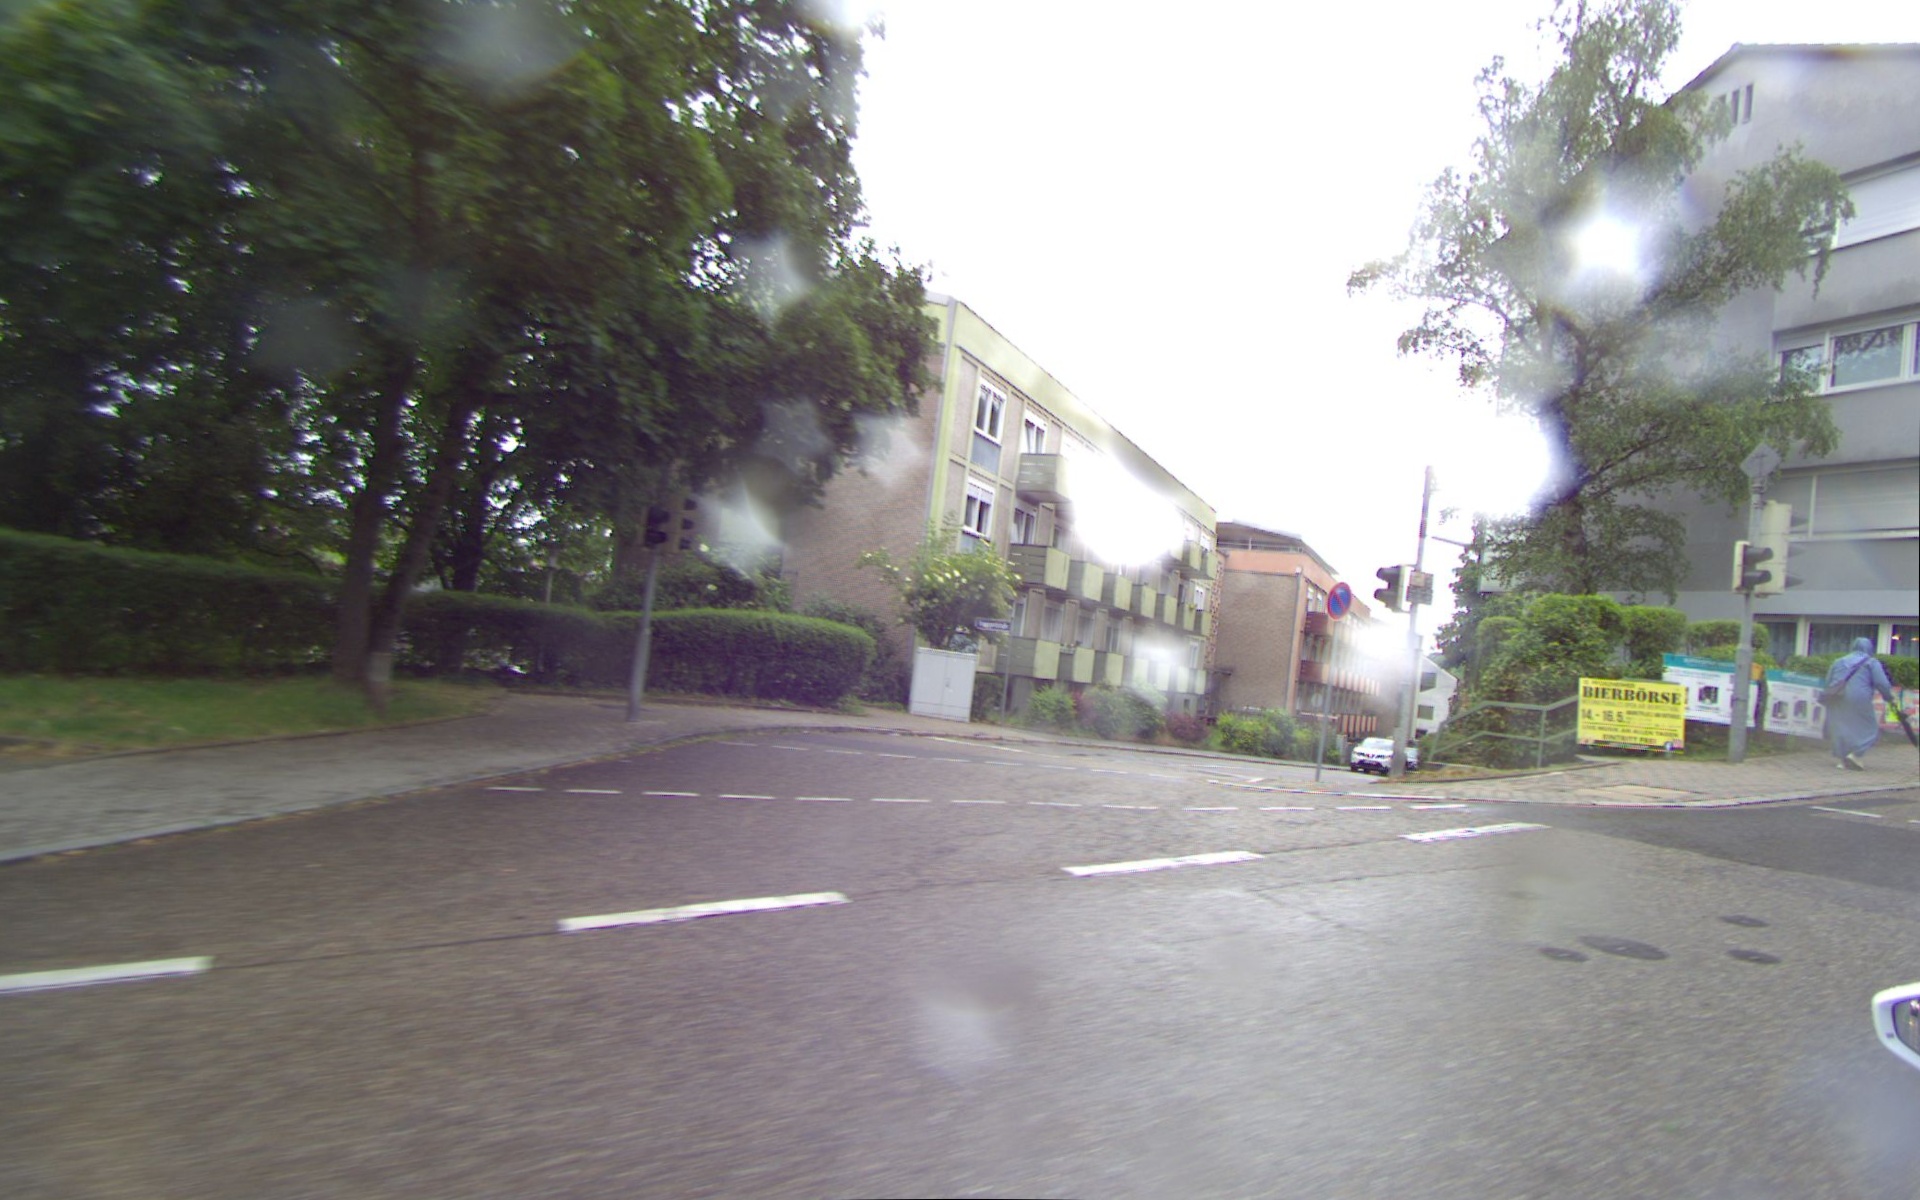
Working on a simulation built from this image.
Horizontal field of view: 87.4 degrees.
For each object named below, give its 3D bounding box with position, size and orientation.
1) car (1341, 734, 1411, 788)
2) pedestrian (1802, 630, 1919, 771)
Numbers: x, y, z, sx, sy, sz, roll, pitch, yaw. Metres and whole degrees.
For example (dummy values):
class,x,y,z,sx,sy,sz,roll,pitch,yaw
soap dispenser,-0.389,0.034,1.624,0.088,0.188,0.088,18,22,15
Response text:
class,x,y,z,sx,sy,sz,roll,pitch,yaw
car,18.338,7.006,44.174,2.162,1.672,4.432,1,-1,31
pedestrian,10.954,1.175,12.096,1.074,1.562,0.865,2,1,-29
